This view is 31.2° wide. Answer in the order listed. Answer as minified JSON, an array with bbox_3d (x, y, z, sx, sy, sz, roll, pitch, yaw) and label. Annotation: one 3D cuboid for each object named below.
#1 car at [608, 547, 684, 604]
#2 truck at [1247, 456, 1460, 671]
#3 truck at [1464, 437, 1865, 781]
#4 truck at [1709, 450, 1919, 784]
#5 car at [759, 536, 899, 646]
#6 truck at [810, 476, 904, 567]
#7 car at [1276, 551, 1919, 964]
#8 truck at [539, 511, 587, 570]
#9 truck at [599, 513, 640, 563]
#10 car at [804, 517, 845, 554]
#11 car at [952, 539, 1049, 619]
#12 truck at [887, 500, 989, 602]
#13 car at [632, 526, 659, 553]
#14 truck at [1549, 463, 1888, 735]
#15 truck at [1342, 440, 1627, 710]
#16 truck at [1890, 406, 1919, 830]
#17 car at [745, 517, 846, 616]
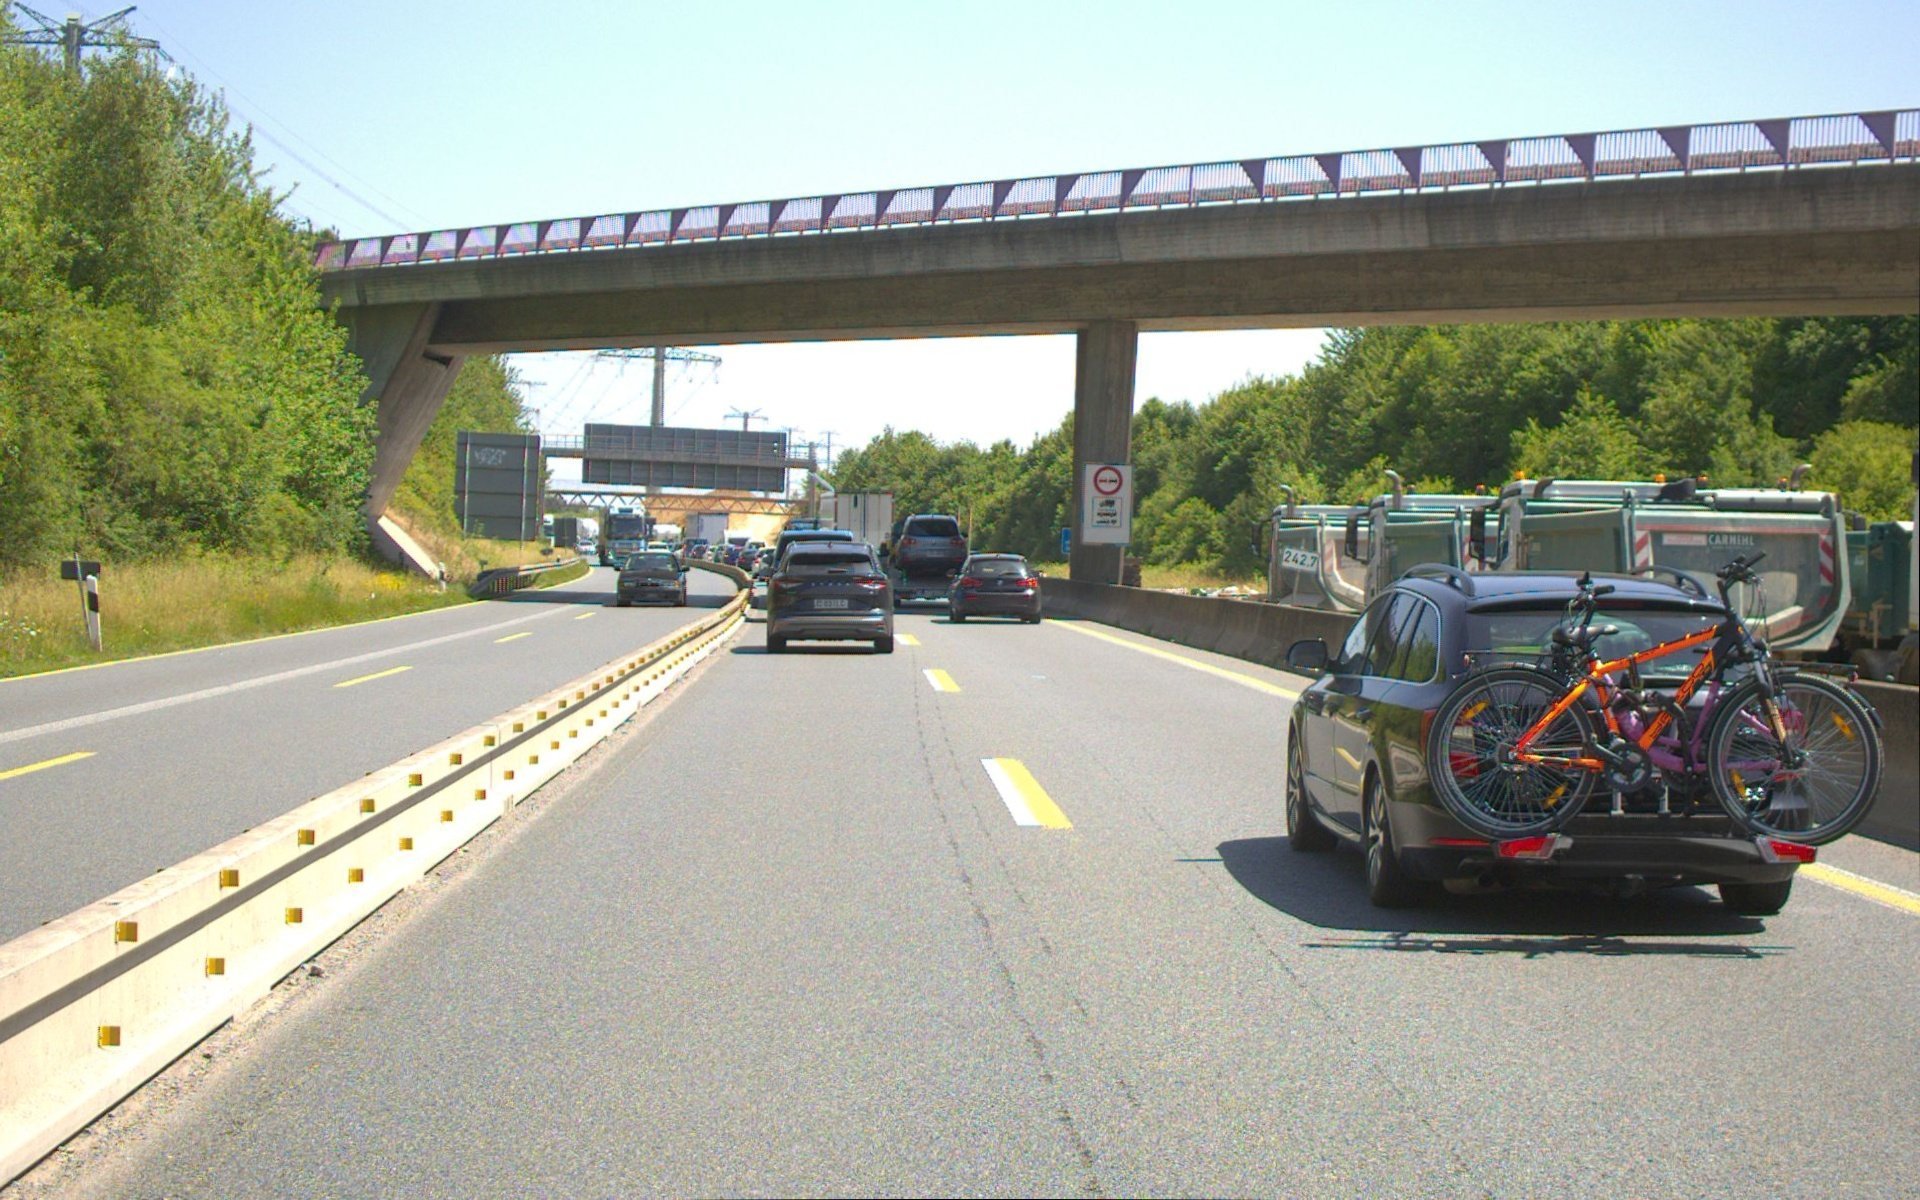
[{"bbox_3d":[-7.969,-0.622,87.408,1.673,1.388,4.071,1,1,-2],"label":"car"},{"bbox_3d":[7.476,-0.737,66.609,2.687,3.830,9.326,1,1,-2],"label":"truck"},{"bbox_3d":[8.457,0.026,42.572,2.687,3.748,9.326,1,1,-2],"label":"truck"},{"bbox_3d":[11.377,0.128,40.455,2.687,3.545,9.326,1,1,-2],"label":"truck"},{"bbox_3d":[-1.880,-0.152,50.426,1.899,1.500,4.276,1,1,-1],"label":"car"},{"bbox_3d":[-4.628,-3.452,151.959,3.292,3.832,10.112,1,1,-6],"label":"truck"},{"bbox_3d":[2.604,0.556,15.124,1.899,1.485,4.948,1,1,-1],"label":"car"},{"bbox_3d":[-22.107,-3.328,191.604,2.508,3.175,10.112,1,1,-6],"label":"truck"},{"bbox_3d":[-22.491,-4.075,226.890,2.508,3.175,10.112,1,1,-6],"label":"truck"},{"bbox_3d":[-7.413,-3.519,187.388,1.899,1.962,4.277,1,1,-7],"label":"car"},{"bbox_3d":[0.813,-0.459,71.513,1.899,1.580,4.276,1,1,-1],"label":"car"},{"bbox_3d":[-0.641,-1.346,91.278,2.405,2.549,7.501,1,1,-2],"label":"truck"},{"bbox_3d":[-22.170,-4.260,242.399,1.762,1.831,4.001,1,1,-6],"label":"car"},{"bbox_3d":[11.297,-0.096,52.242,2.687,3.714,9.326,1,1,-2],"label":"truck"},{"bbox_3d":[8.074,-0.442,54.170,2.687,3.842,9.326,1,1,-2],"label":"truck"},{"bbox_3d":[9.545,0.238,24.895,2.687,3.545,9.326,1,1,-2],"label":"truck"},{"bbox_3d":[-3.390,-0.698,71.368,1.899,1.962,4.276,1,1,-1],"label":"car"}]
